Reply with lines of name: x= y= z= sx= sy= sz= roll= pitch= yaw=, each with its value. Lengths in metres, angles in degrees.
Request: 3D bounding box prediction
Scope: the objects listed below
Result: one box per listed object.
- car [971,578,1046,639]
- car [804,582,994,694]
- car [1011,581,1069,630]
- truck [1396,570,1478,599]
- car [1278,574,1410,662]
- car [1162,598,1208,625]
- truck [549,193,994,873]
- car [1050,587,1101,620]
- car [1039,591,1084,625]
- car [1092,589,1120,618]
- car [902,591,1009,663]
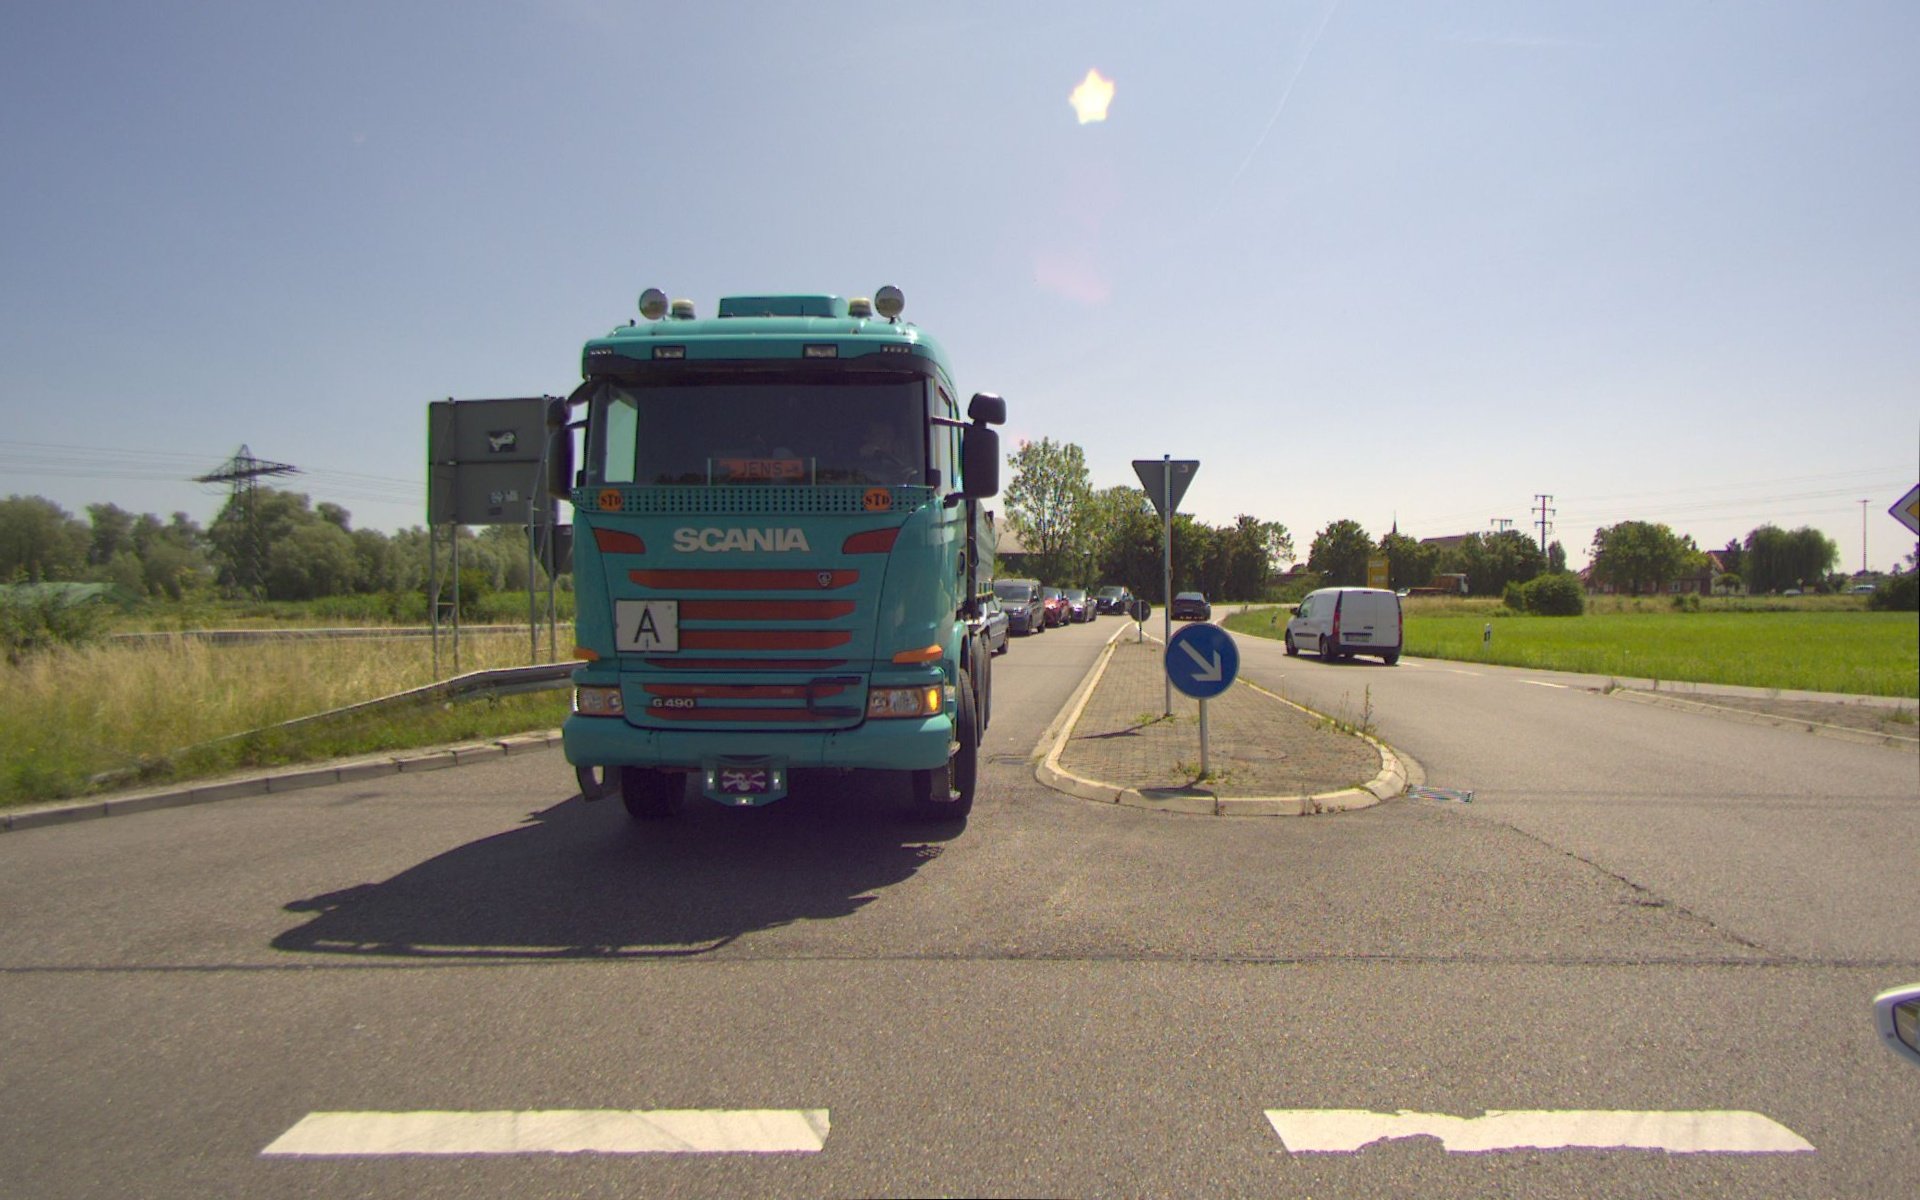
car: x=1.734 y=0.253 z=33.979 sx=2.046 sy=1.892 sz=4.955 roll=-1 pitch=0 yaw=8
car: x=-0.850 y=0.548 z=17.025 sx=1.928 sy=1.634 sz=4.558 roll=0 pitch=0 yaw=14
car: x=3.287 y=0.207 z=40.565 sx=1.877 sy=1.873 sz=4.486 roll=0 pitch=0 yaw=11
truck: x=50.719 y=-1.631 z=106.758 sx=9.095 sy=2.702 sz=3.363 roll=1 pitch=-2 yaw=-30
car: x=9.488 y=0.429 z=25.149 sx=1.796 sy=1.997 sz=4.000 roll=1 pitch=0 yaw=1
car: x=12.179 y=0.606 z=54.642 sx=2.051 sy=1.378 sz=4.397 roll=0 pitch=0 yaw=8
truck: x=-0.933 y=-0.427 z=9.598 sx=2.448 sy=3.785 sz=7.931 roll=0 pitch=1 yaw=2
car: x=6.117 y=0.210 z=53.000 sx=1.960 sy=1.690 sz=4.001 roll=0 pitch=-1 yaw=17
car: x=4.745 y=0.345 z=46.348 sx=1.745 sy=1.498 sz=4.002 roll=0 pitch=1 yaw=11
car: x=8.438 y=0.187 z=58.102 sx=1.512 sy=1.635 sz=4.288 roll=0 pitch=0 yaw=8
car: x=0.002 y=0.565 z=23.205 sx=1.683 sy=1.490 sz=4.449 roll=0 pitch=0 yaw=11
